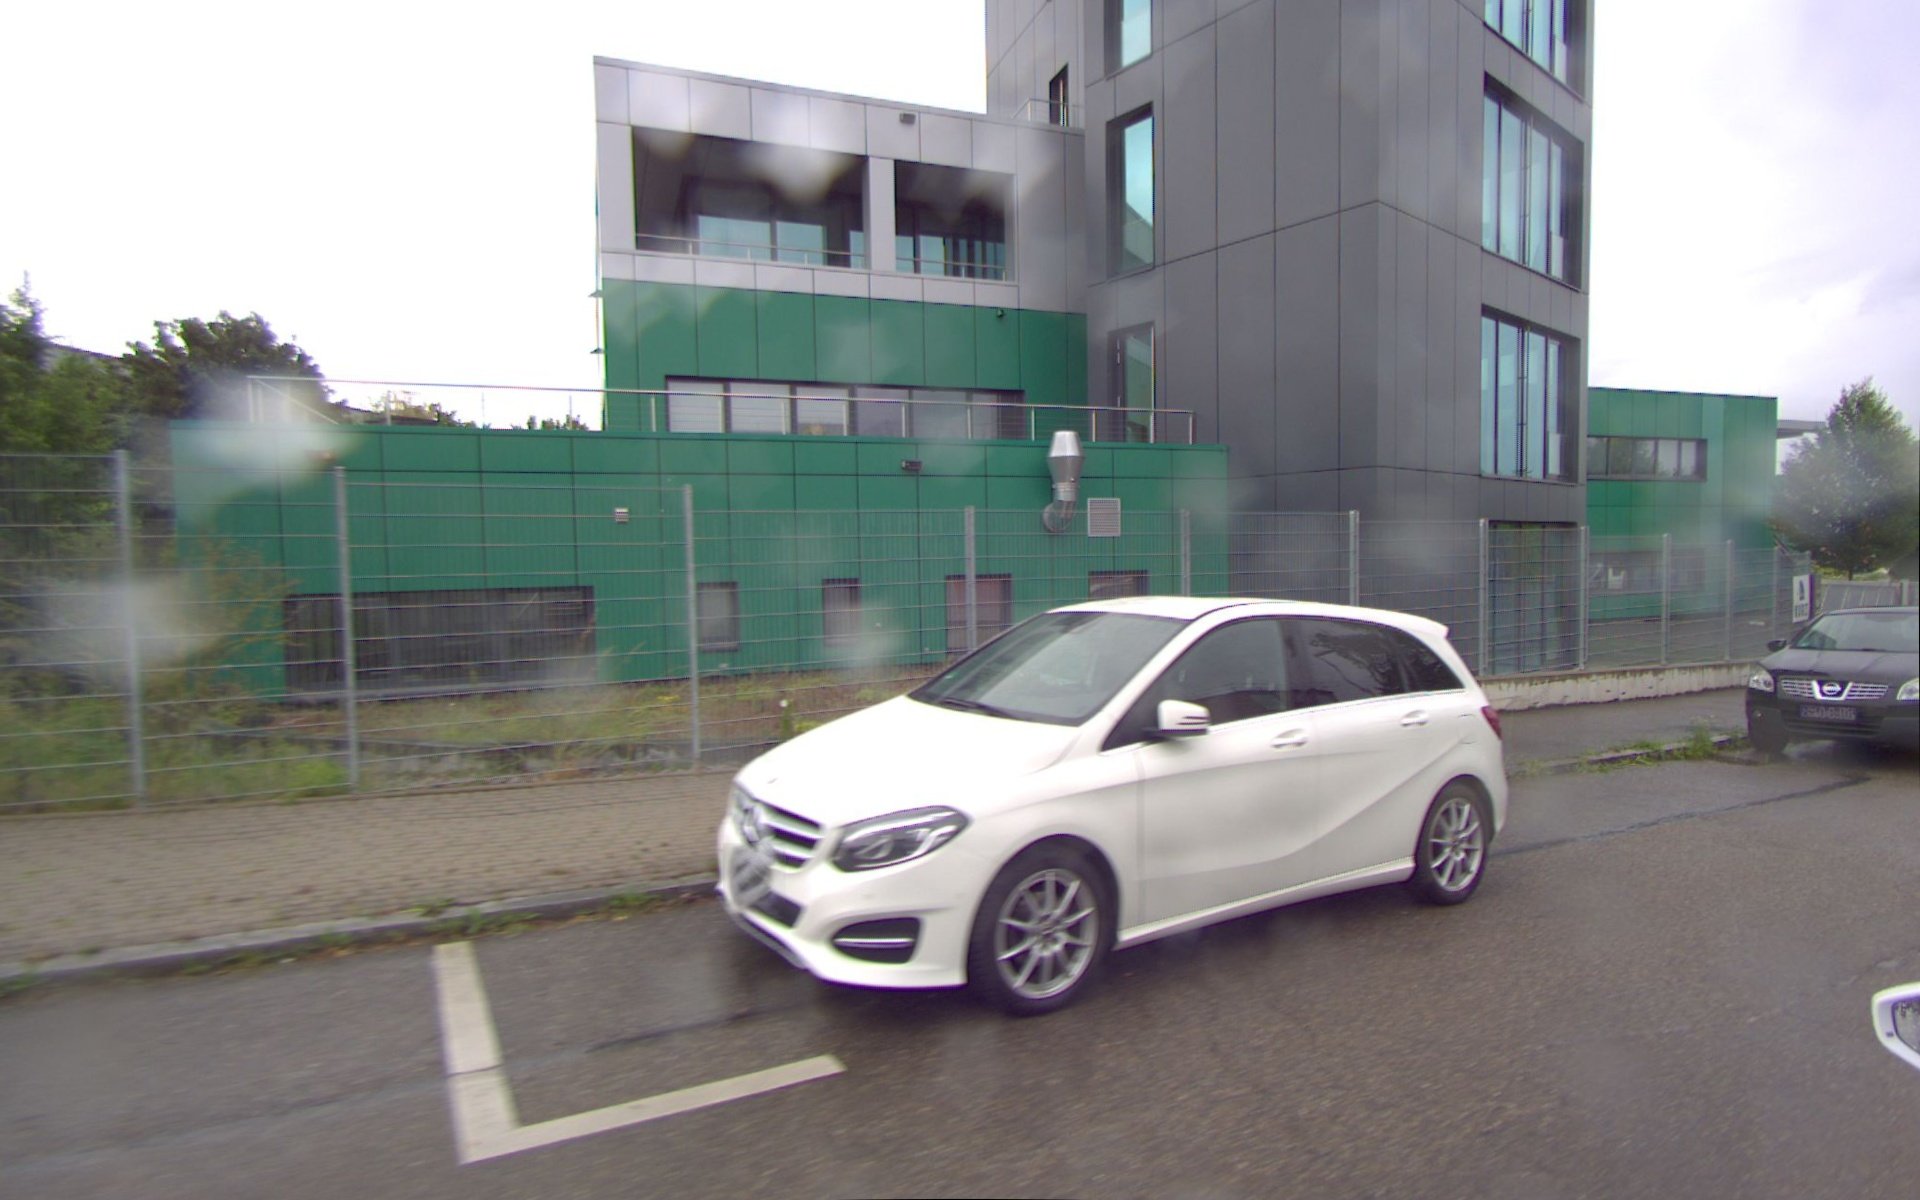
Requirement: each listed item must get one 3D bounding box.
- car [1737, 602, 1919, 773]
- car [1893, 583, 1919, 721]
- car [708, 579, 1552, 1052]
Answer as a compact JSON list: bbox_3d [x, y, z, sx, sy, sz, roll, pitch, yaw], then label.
[{"bbox_3d":[10.252,0.818,10.974,4.041,1.579,1.622,0,1,-34],"label":"car"},{"bbox_3d":[14.619,0.697,13.952,3.920,1.821,1.727,0,1,-36],"label":"car"},{"bbox_3d":[1.029,0.701,5.152,4.203,1.556,1.725,0,1,-32],"label":"car"}]
